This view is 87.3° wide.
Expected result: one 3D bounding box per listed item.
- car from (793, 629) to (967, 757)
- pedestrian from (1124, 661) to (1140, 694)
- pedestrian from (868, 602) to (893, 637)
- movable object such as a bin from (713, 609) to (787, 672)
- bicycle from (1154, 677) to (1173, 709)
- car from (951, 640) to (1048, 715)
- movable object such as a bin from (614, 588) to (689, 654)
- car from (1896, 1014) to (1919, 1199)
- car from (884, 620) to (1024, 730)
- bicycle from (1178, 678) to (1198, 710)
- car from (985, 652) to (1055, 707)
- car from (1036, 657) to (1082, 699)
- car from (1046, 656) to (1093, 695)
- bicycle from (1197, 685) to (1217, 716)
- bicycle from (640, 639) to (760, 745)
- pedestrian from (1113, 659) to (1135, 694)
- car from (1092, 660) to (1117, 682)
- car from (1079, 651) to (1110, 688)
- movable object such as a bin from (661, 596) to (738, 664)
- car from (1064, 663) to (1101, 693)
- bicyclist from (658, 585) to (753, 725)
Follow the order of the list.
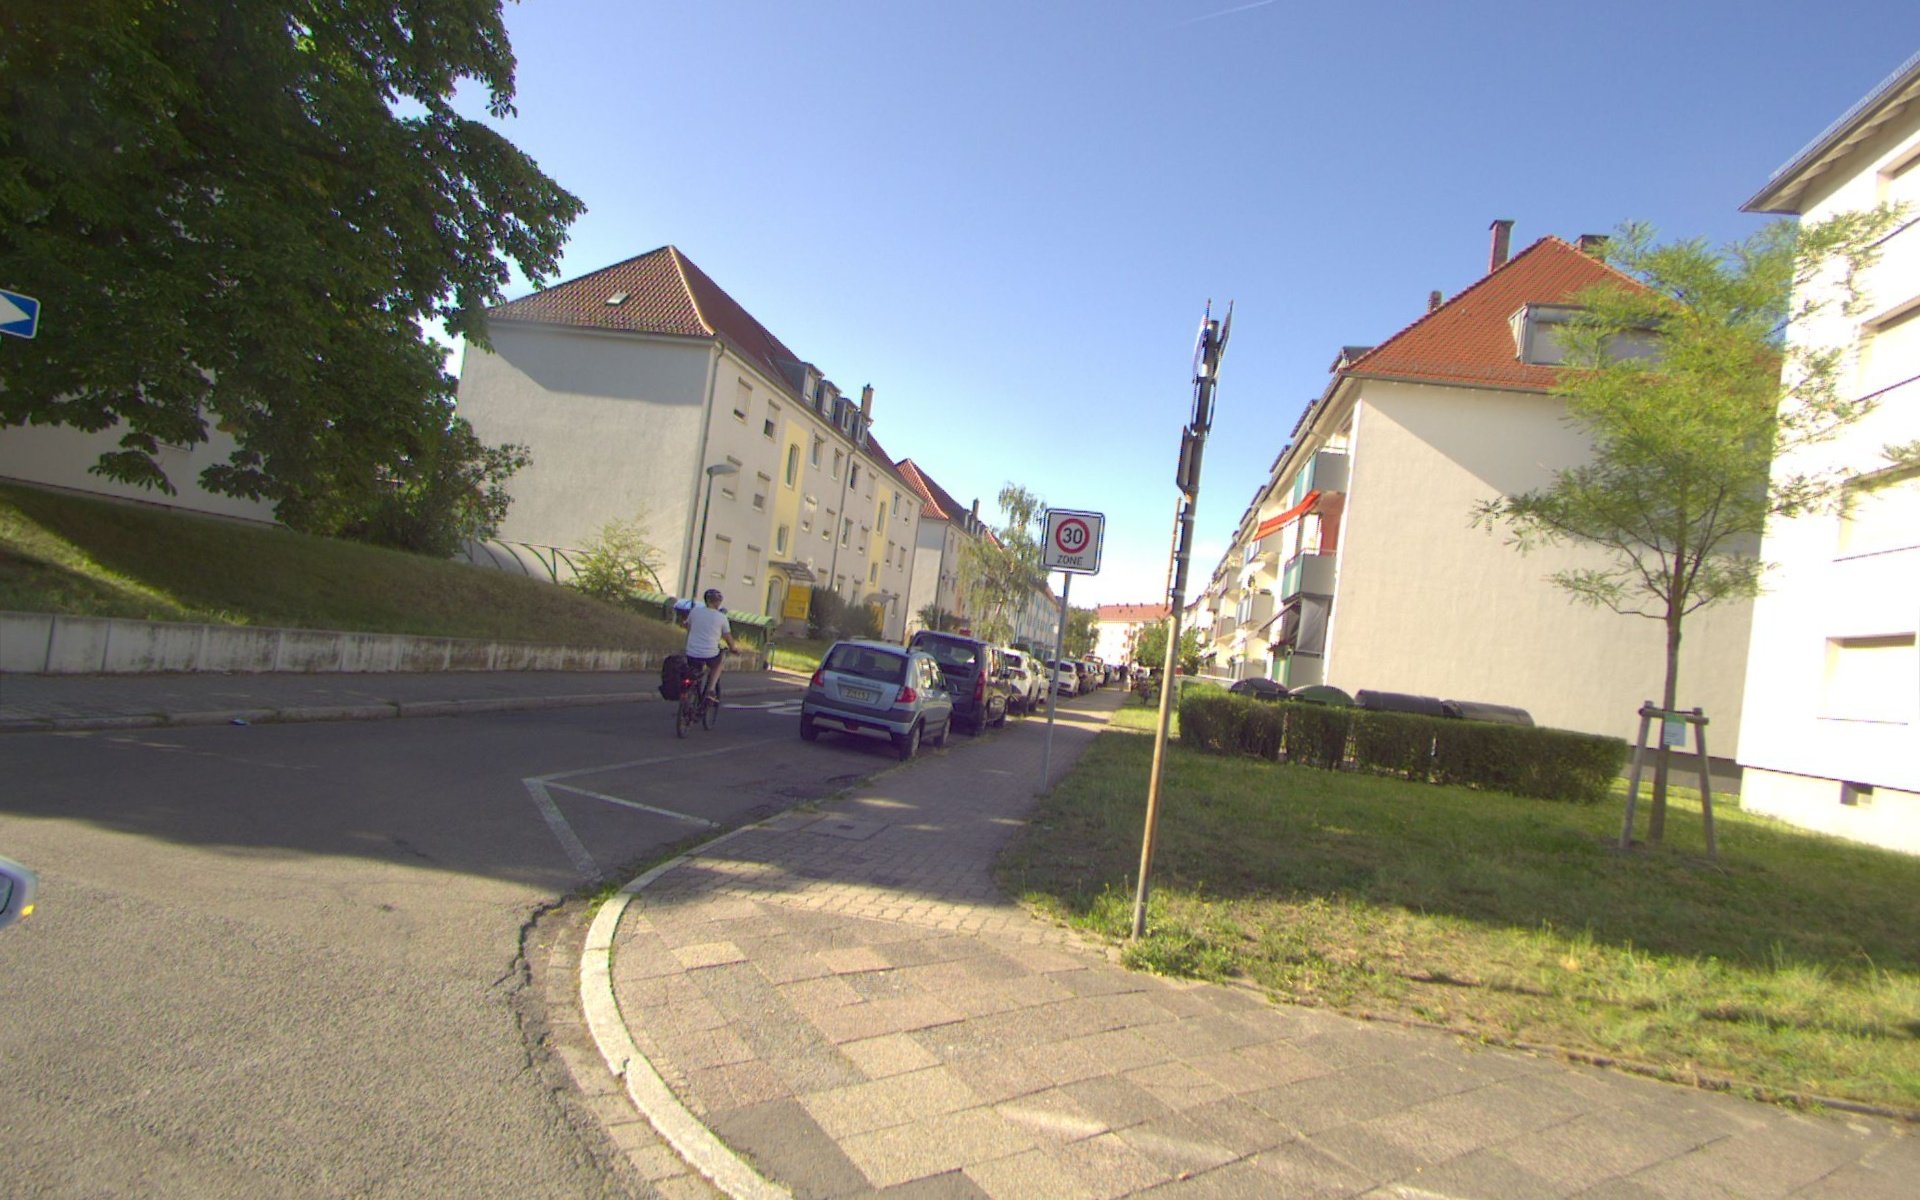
[{"bbox_3d":[-1.041,1.335,15.080,1.627,1.445,3.906,8,-3,8],"label":"car"},{"bbox_3d":[11.114,5.006,65.020,0.778,2.037,1.084,7,-1,11],"label":"pedestrian"},{"bbox_3d":[-4.327,1.044,54.703,0.955,1.735,0.948,7,-2,11],"label":"pedestrian"},{"bbox_3d":[-5.795,1.135,27.832,1.468,1.495,1.267,7,-2,11],"label":"movable object such as a bin"},{"bbox_3d":[7.752,3.528,38.331,0.550,1.105,1.904,7,-2,11],"label":"bicycle"},{"bbox_3d":[1.171,2.091,27.391,1.951,1.609,4.131,7,-3,10],"label":"car"},{"bbox_3d":[-8.650,0.607,28.279,1.436,1.631,1.193,7,-2,11],"label":"movable object such as a bin"},{"bbox_3d":[4.470,1.412,1.253,4.413,1.499,1.966,7,-1,11],"label":"car"},{"bbox_3d":[0.007,1.515,20.479,1.834,1.750,4.302,7,-3,11],"label":"car"},{"bbox_3d":[8.664,3.563,38.239,0.550,1.105,1.904,7,-2,11],"label":"bicycle"},{"bbox_3d":[2.016,2.573,32.840,1.729,1.448,3.634,8,-2,10],"label":"car"},{"bbox_3d":[4.437,3.460,44.711,1.606,1.507,3.629,9,-2,10],"label":"car"},{"bbox_3d":[5.442,3.715,49.547,1.806,1.575,4.006,7,-3,11],"label":"car"},{"bbox_3d":[9.419,3.800,38.357,0.506,1.066,1.868,7,-2,11],"label":"bicycle"},{"bbox_3d":[-3.200,1.131,12.582,0.650,1.140,1.769,8,-2,10],"label":"bicycle"},{"bbox_3d":[10.210,4.758,62.651,1.024,2.036,1.024,7,-2,12],"label":"pedestrian"},{"bbox_3d":[12.677,6.225,87.802,1.777,1.622,4.411,7,-3,11],"label":"car"},{"bbox_3d":[9.114,4.715,68.121,1.593,2.167,4.006,7,-2,11],"label":"car"},{"bbox_3d":[-7.234,0.856,28.029,1.475,1.641,1.265,7,-2,11],"label":"movable object such as a bin"},{"bbox_3d":[7.655,4.826,62.444,1.864,1.512,4.098,7,-3,11],"label":"car"},{"bbox_3d":[-3.153,0.689,12.529,0.683,1.614,0.792,7,-2,10],"label":"bicyclist"}]
